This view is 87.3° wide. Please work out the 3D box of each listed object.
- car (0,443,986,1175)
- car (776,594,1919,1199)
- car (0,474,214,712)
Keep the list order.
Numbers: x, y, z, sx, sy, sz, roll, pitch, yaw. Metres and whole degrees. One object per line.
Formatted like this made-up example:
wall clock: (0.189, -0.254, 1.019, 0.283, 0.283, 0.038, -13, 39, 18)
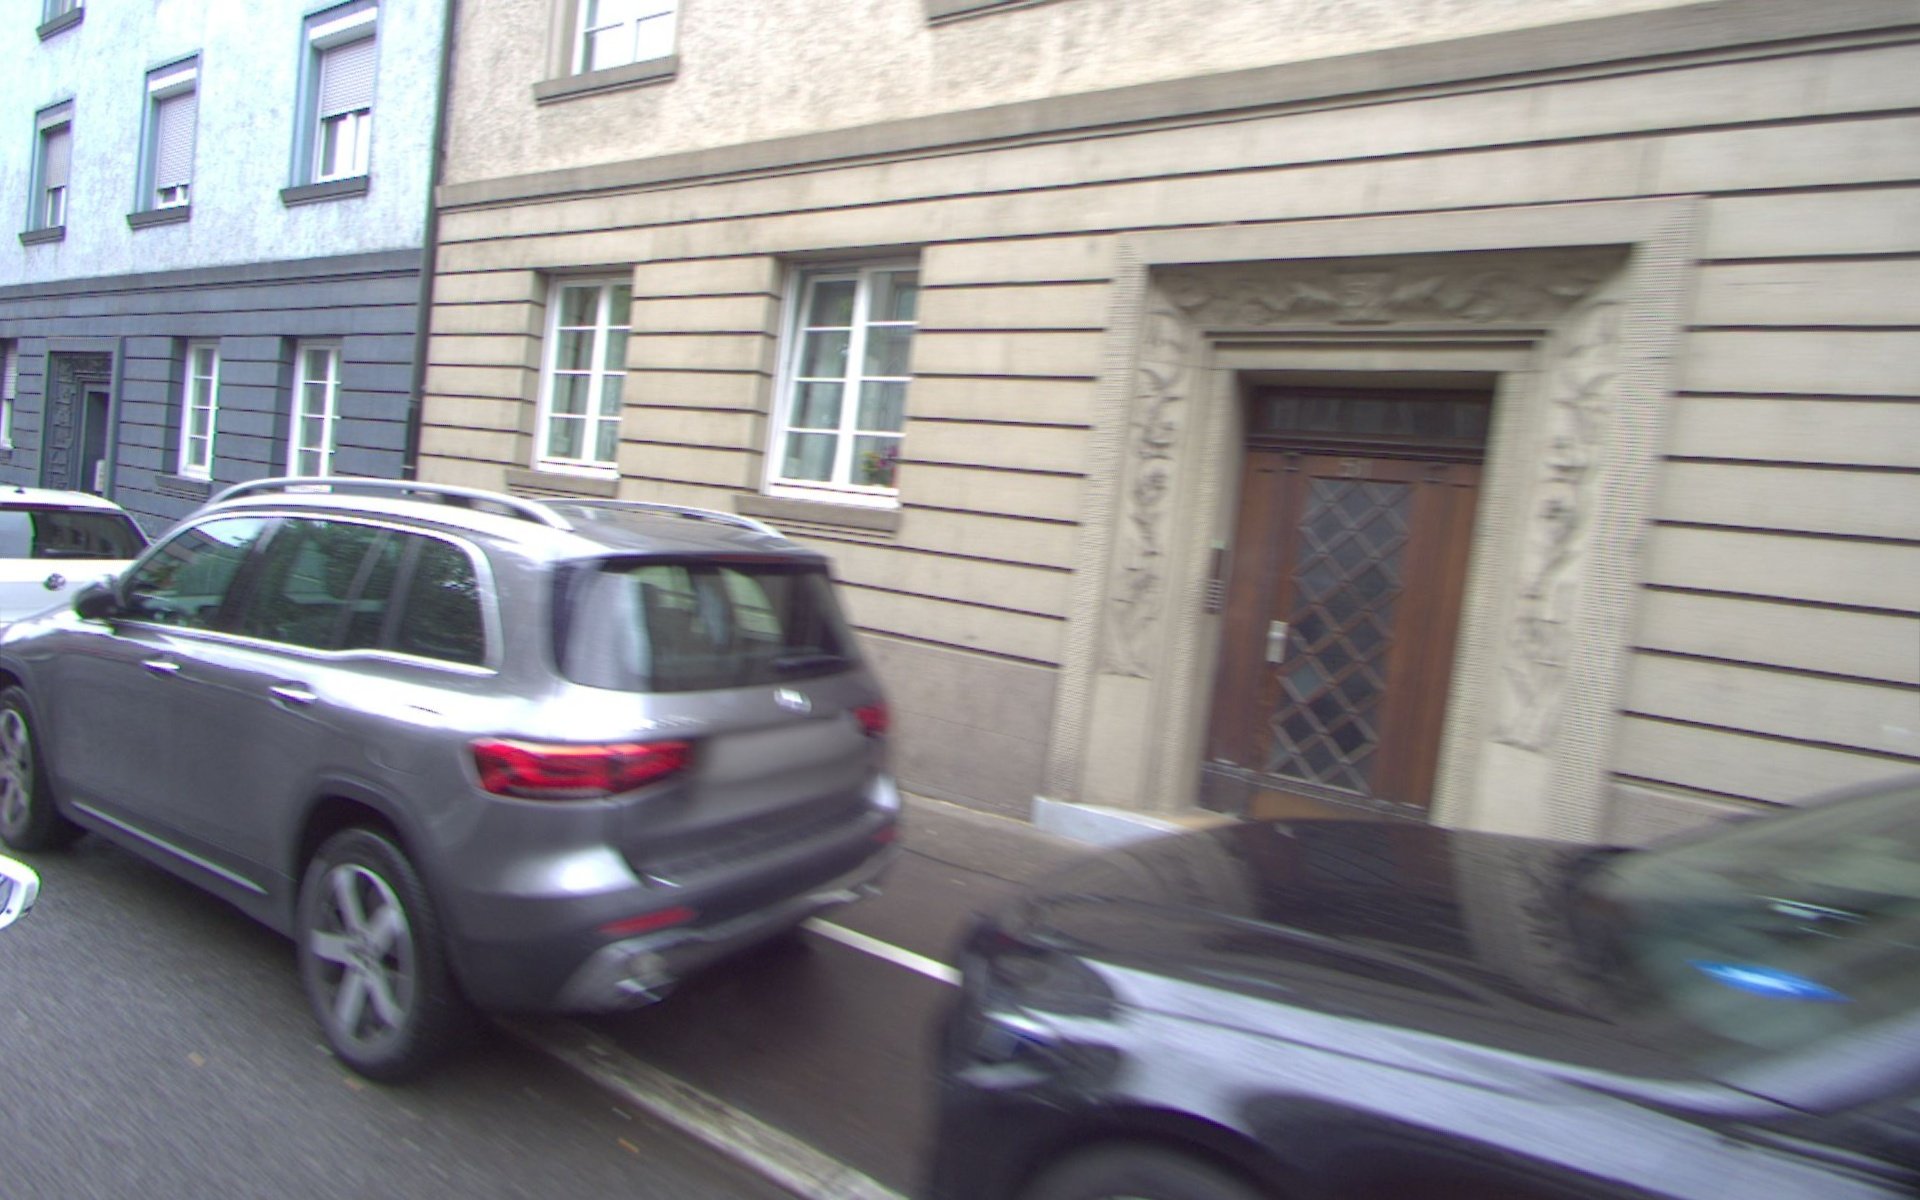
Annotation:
car: (-2.200, 0.342, 4.154, 4.137, 1.643, 1.841, 6, 3, 31)
car: (1.957, 0.918, 1.812, 4.314, 1.429, 1.840, 7, 4, 31)
car: (-7.551, -0.217, 7.613, 3.907, 1.450, 1.728, 7, 5, 31)
